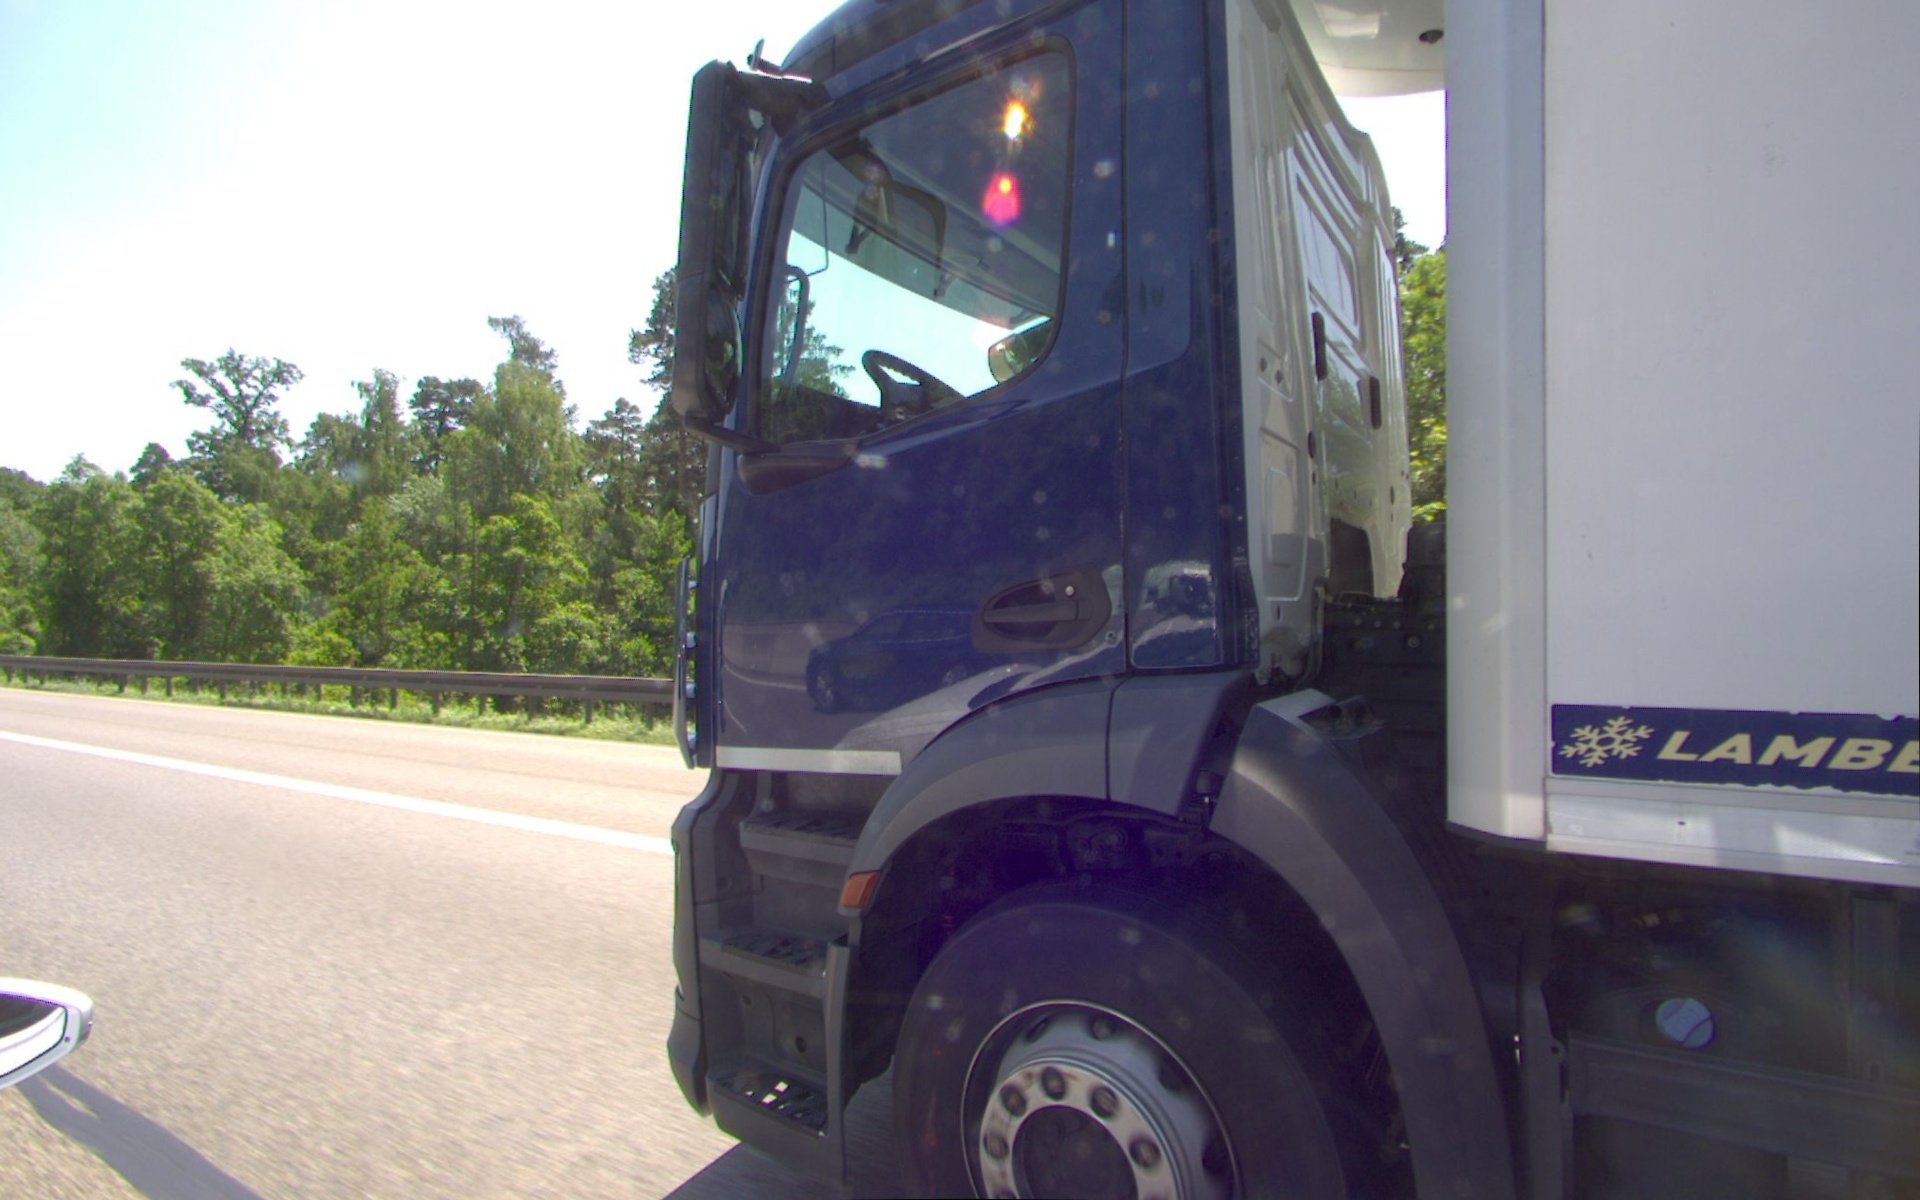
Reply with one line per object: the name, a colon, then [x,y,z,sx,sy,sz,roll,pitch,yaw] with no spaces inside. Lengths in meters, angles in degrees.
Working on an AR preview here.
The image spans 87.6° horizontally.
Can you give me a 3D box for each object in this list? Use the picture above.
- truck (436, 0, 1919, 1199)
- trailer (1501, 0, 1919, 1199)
truck: [1.126,0.009,2.427,4.046,2.978,2.551,-2,-1,32]
trailer: [4.610,-0.080,0.238,7.769,2.936,2.551,-1,-1,32]
